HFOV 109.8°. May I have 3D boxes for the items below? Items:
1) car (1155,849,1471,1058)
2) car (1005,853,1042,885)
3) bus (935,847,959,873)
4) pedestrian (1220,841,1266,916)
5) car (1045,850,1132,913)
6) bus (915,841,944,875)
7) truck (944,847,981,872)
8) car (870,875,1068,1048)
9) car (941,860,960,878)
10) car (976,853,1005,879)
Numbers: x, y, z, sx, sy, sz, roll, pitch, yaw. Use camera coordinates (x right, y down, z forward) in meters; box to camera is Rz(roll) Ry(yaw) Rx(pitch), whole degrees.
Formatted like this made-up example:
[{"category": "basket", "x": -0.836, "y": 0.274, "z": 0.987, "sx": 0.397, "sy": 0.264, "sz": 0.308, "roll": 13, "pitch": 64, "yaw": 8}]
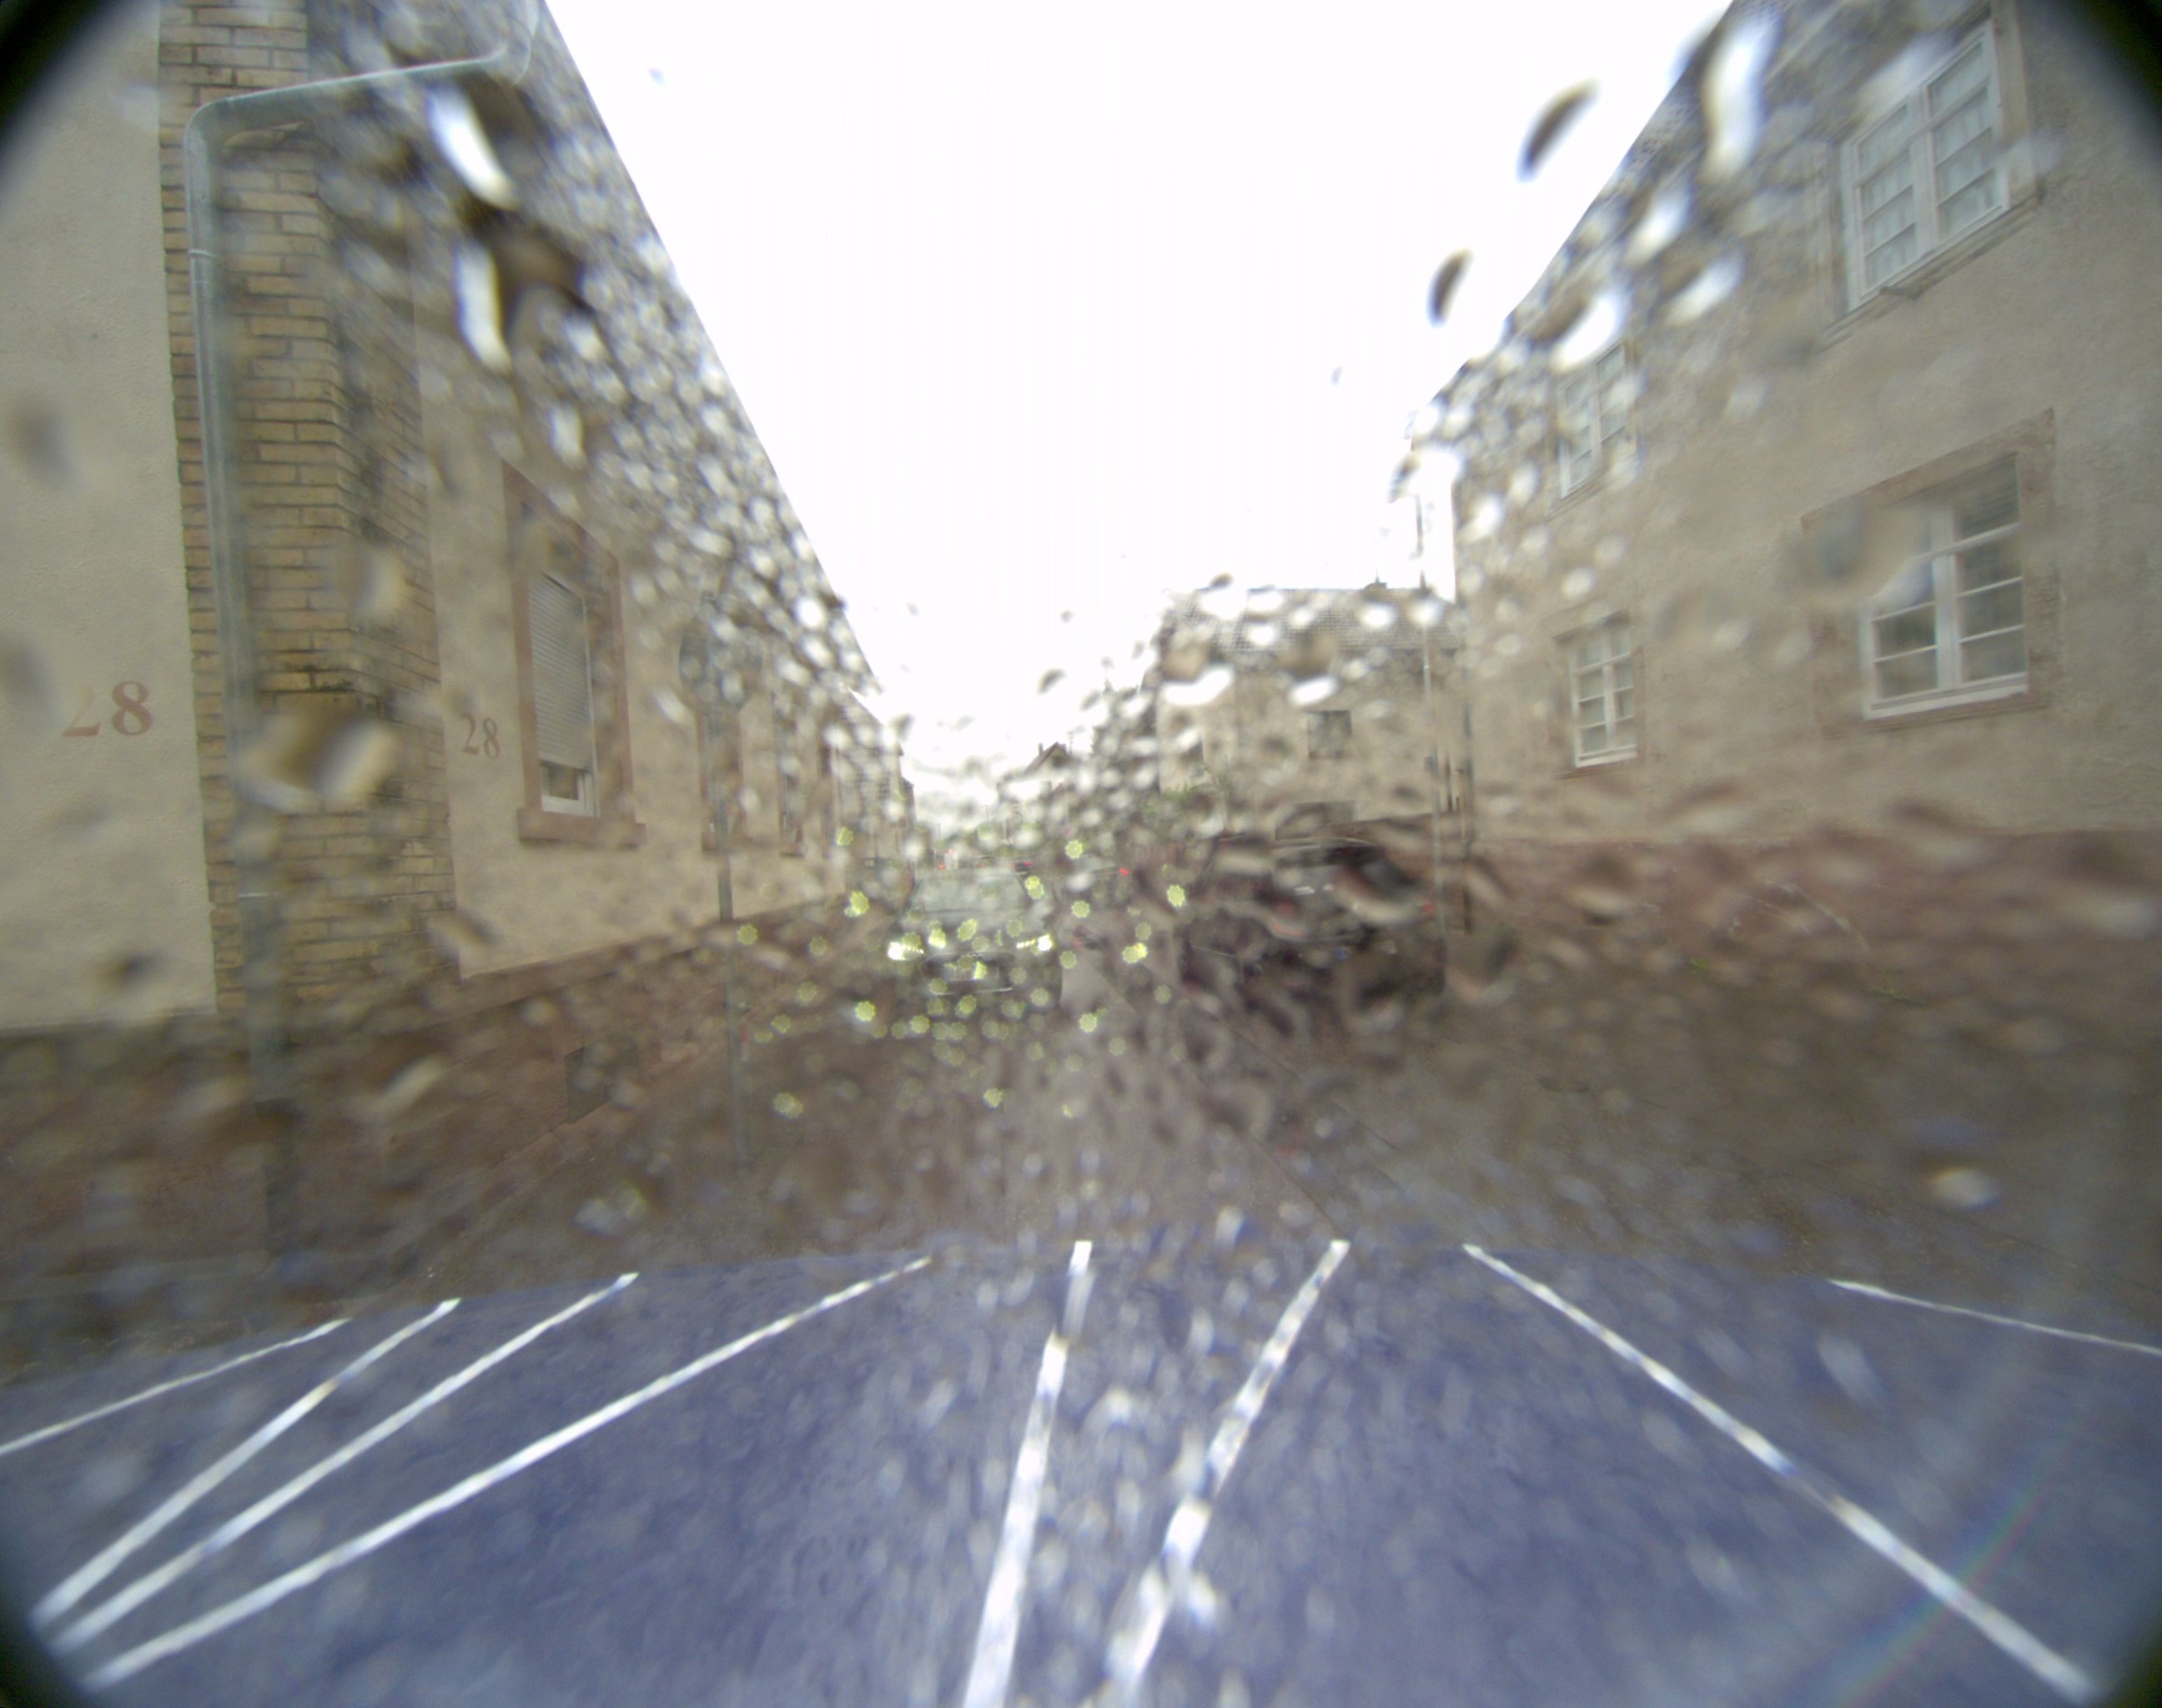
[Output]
[{"category": "car", "x": 2.013, "y": 0.757, "z": 7.752, "sx": 1.609, "sy": 1.504, "sz": 3.685, "roll": -4, "pitch": 1, "yaw": -8}, {"category": "car", "x": -3.195, "y": 0.786, "z": 41.698, "sx": 1.627, "sy": 1.502, "sz": 3.790, "roll": -6, "pitch": 1, "yaw": -8}, {"category": "bus", "x": -18.044, "y": 0.762, "z": 101.581, "sx": 2.670, "sy": 3.213, "sz": 12.178, "roll": -2, "pitch": 1, "yaw": -12}, {"category": "pedestrian", "x": 3.490, "y": 0.515, "z": 16.403, "sx": 0.574, "sy": 1.529, "sz": 0.832, "roll": -5, "pitch": 1, "yaw": -12}, {"category": "car", "x": 0.094, "y": 0.701, "z": 21.999, "sx": 1.701, "sy": 1.500, "sz": 4.337, "roll": -5, "pitch": 1, "yaw": -9}, {"category": "bus", "x": -15.977, "y": 0.332, "z": 79.742, "sx": 2.670, "sy": 3.213, "sz": 12.178, "roll": -2, "pitch": 1, "yaw": -12}, {"category": "truck", "x": -12.781, "y": 0.521, "z": 82.335, "sx": 1.997, "sy": 2.490, "sz": 5.654, "roll": -2, "pitch": 1, "yaw": 11}, {"category": "car", "x": -1.325, "y": 1.022, "z": 8.979, "sx": 1.740, "sy": 1.363, "sz": 4.098, "roll": -2, "pitch": 0, "yaw": -9}, {"category": "car", "x": -15.803, "y": 1.767, "z": 91.810, "sx": 2.001, "sy": 2.002, "sz": 3.995, "roll": -2, "pitch": 1, "yaw": -13}, {"category": "car", "x": -6.552, "y": 0.827, "z": 54.731, "sx": 1.786, "sy": 1.655, "sz": 4.422, "roll": -5, "pitch": 2, "yaw": -8}]
